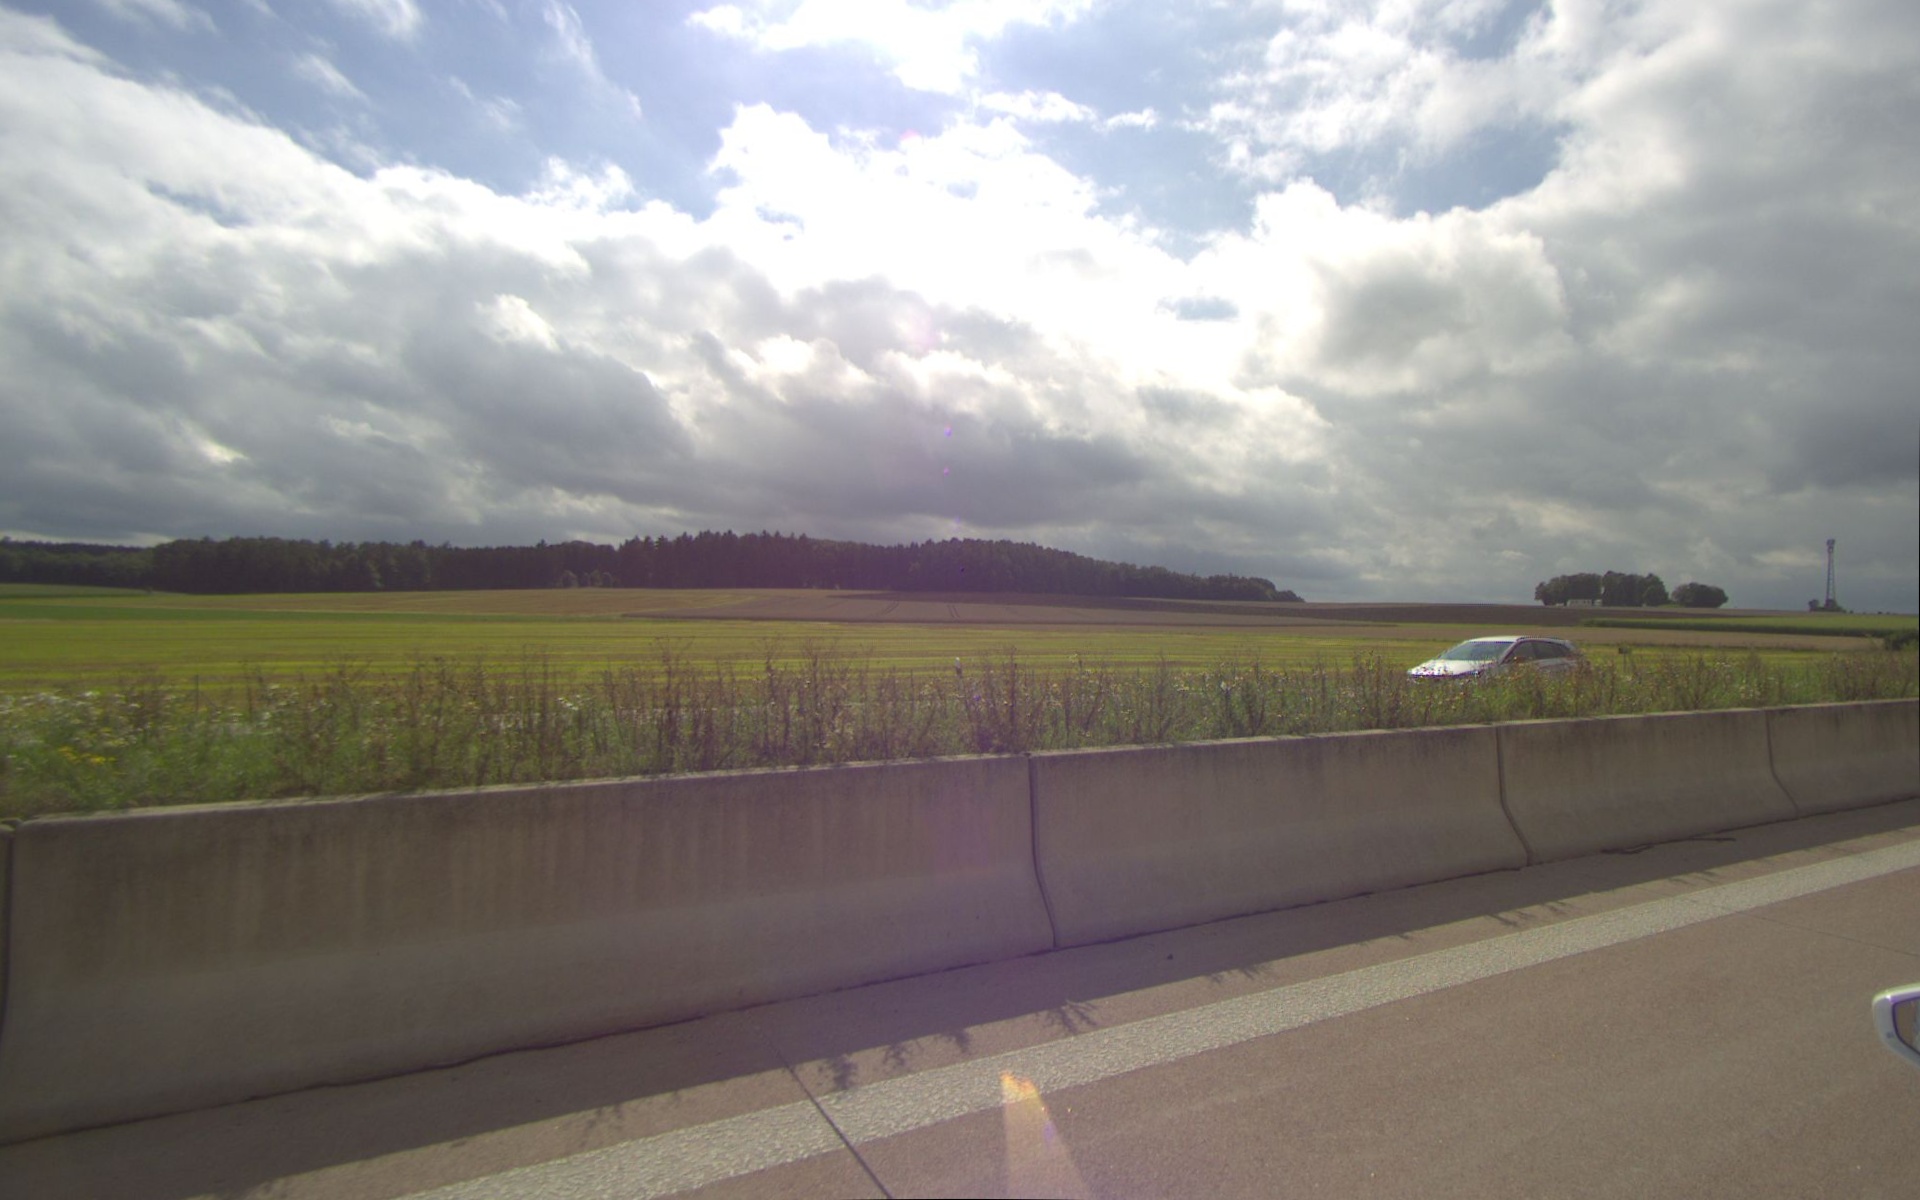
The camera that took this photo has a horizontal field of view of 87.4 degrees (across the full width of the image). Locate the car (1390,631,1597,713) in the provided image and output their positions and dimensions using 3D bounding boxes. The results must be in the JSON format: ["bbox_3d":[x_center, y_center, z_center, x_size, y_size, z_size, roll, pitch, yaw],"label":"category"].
[{"bbox_3d":[11.100,1.438,20.847,4.227,1.528,1.983,2,-3,-32],"label":"car"}]
